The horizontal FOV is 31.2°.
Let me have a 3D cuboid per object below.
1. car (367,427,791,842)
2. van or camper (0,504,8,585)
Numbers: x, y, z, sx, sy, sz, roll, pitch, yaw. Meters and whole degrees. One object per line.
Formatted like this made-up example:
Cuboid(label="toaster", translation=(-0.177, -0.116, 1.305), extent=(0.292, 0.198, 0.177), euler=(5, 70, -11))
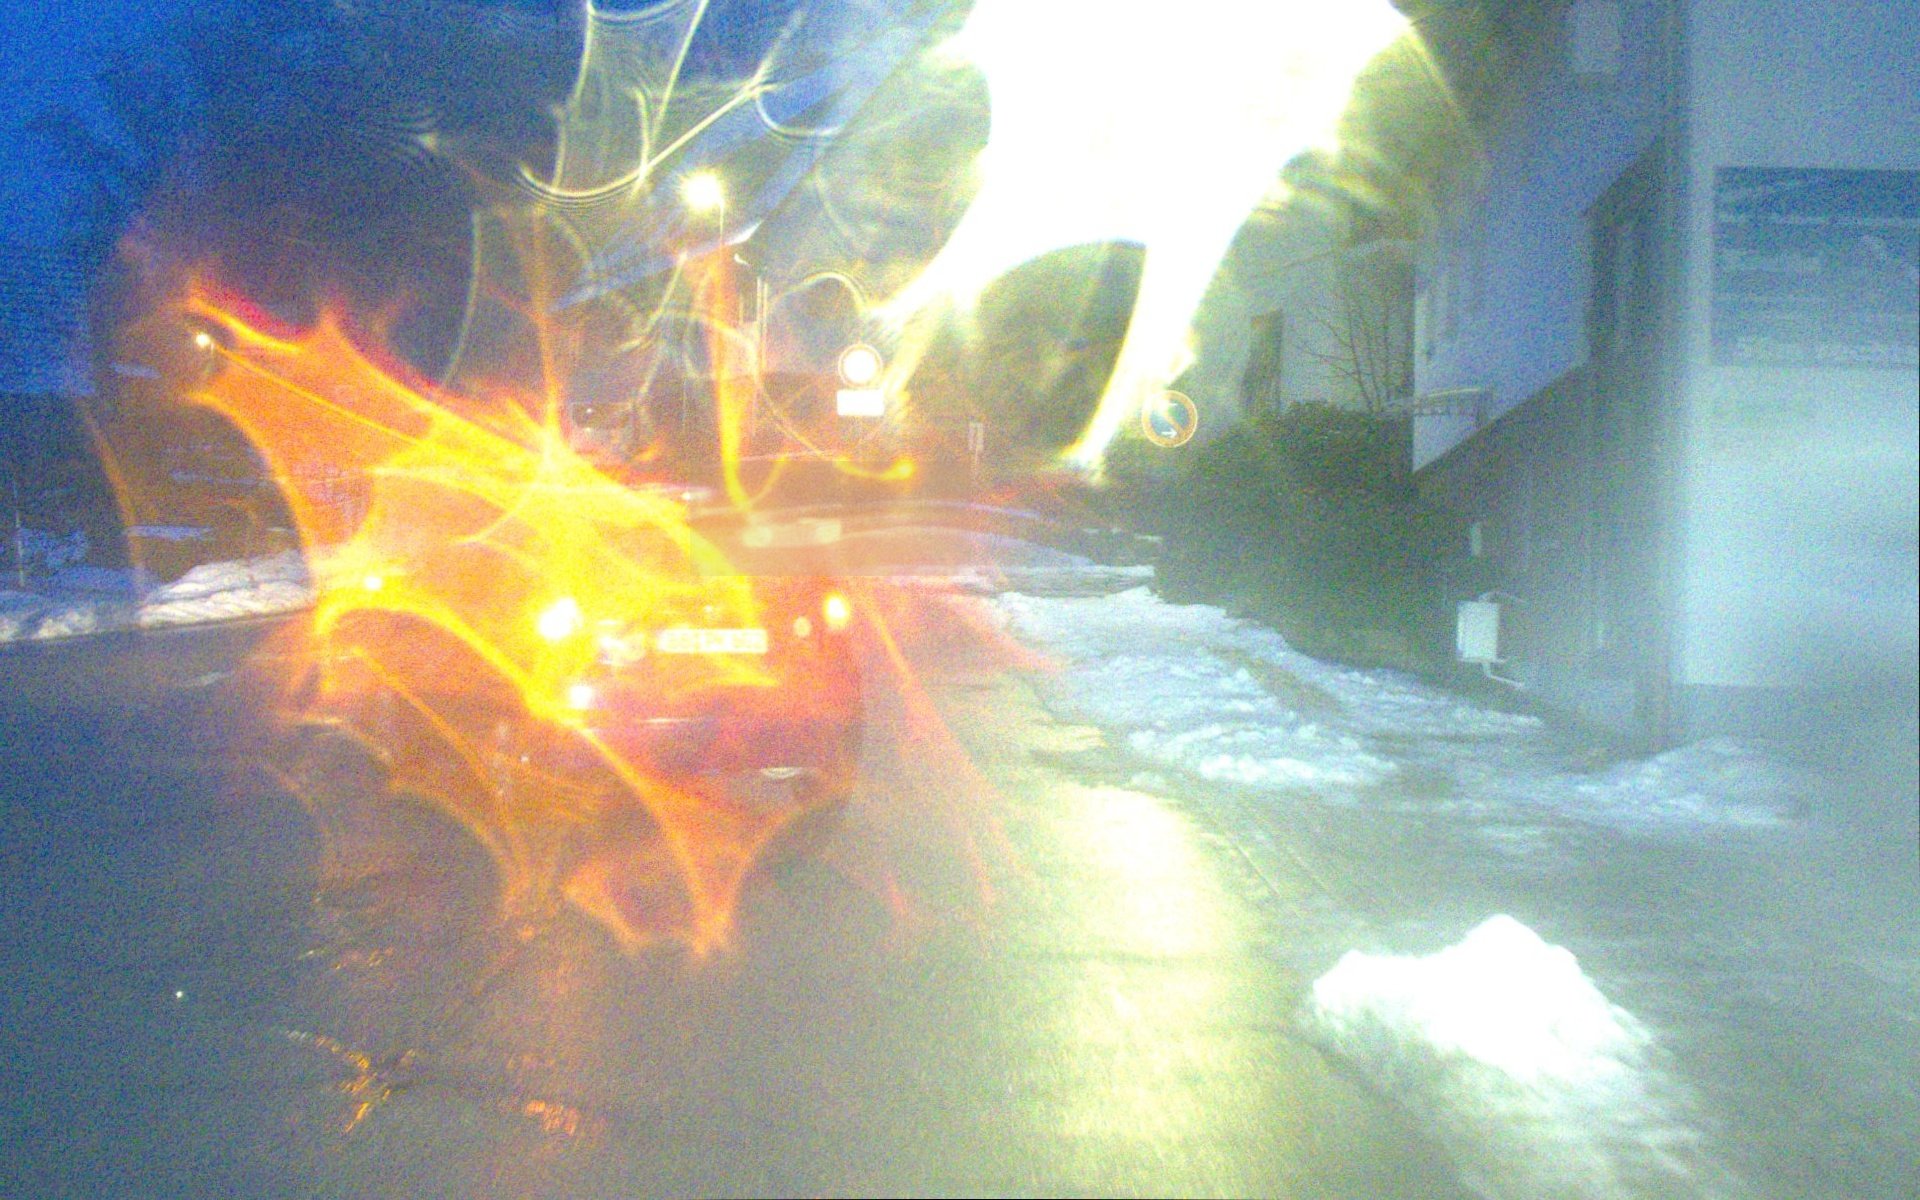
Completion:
Cuboid(label="car", translation=(-1.969, 0.106, 16.890), extent=(1.822, 1.790, 3.579), euler=(-1, 1, -10))
Cuboid(label="van or camper", translation=(-14.265, -0.764, 47.929), extent=(1.282, 1.098, 3.273), euler=(2, -1, -27))
